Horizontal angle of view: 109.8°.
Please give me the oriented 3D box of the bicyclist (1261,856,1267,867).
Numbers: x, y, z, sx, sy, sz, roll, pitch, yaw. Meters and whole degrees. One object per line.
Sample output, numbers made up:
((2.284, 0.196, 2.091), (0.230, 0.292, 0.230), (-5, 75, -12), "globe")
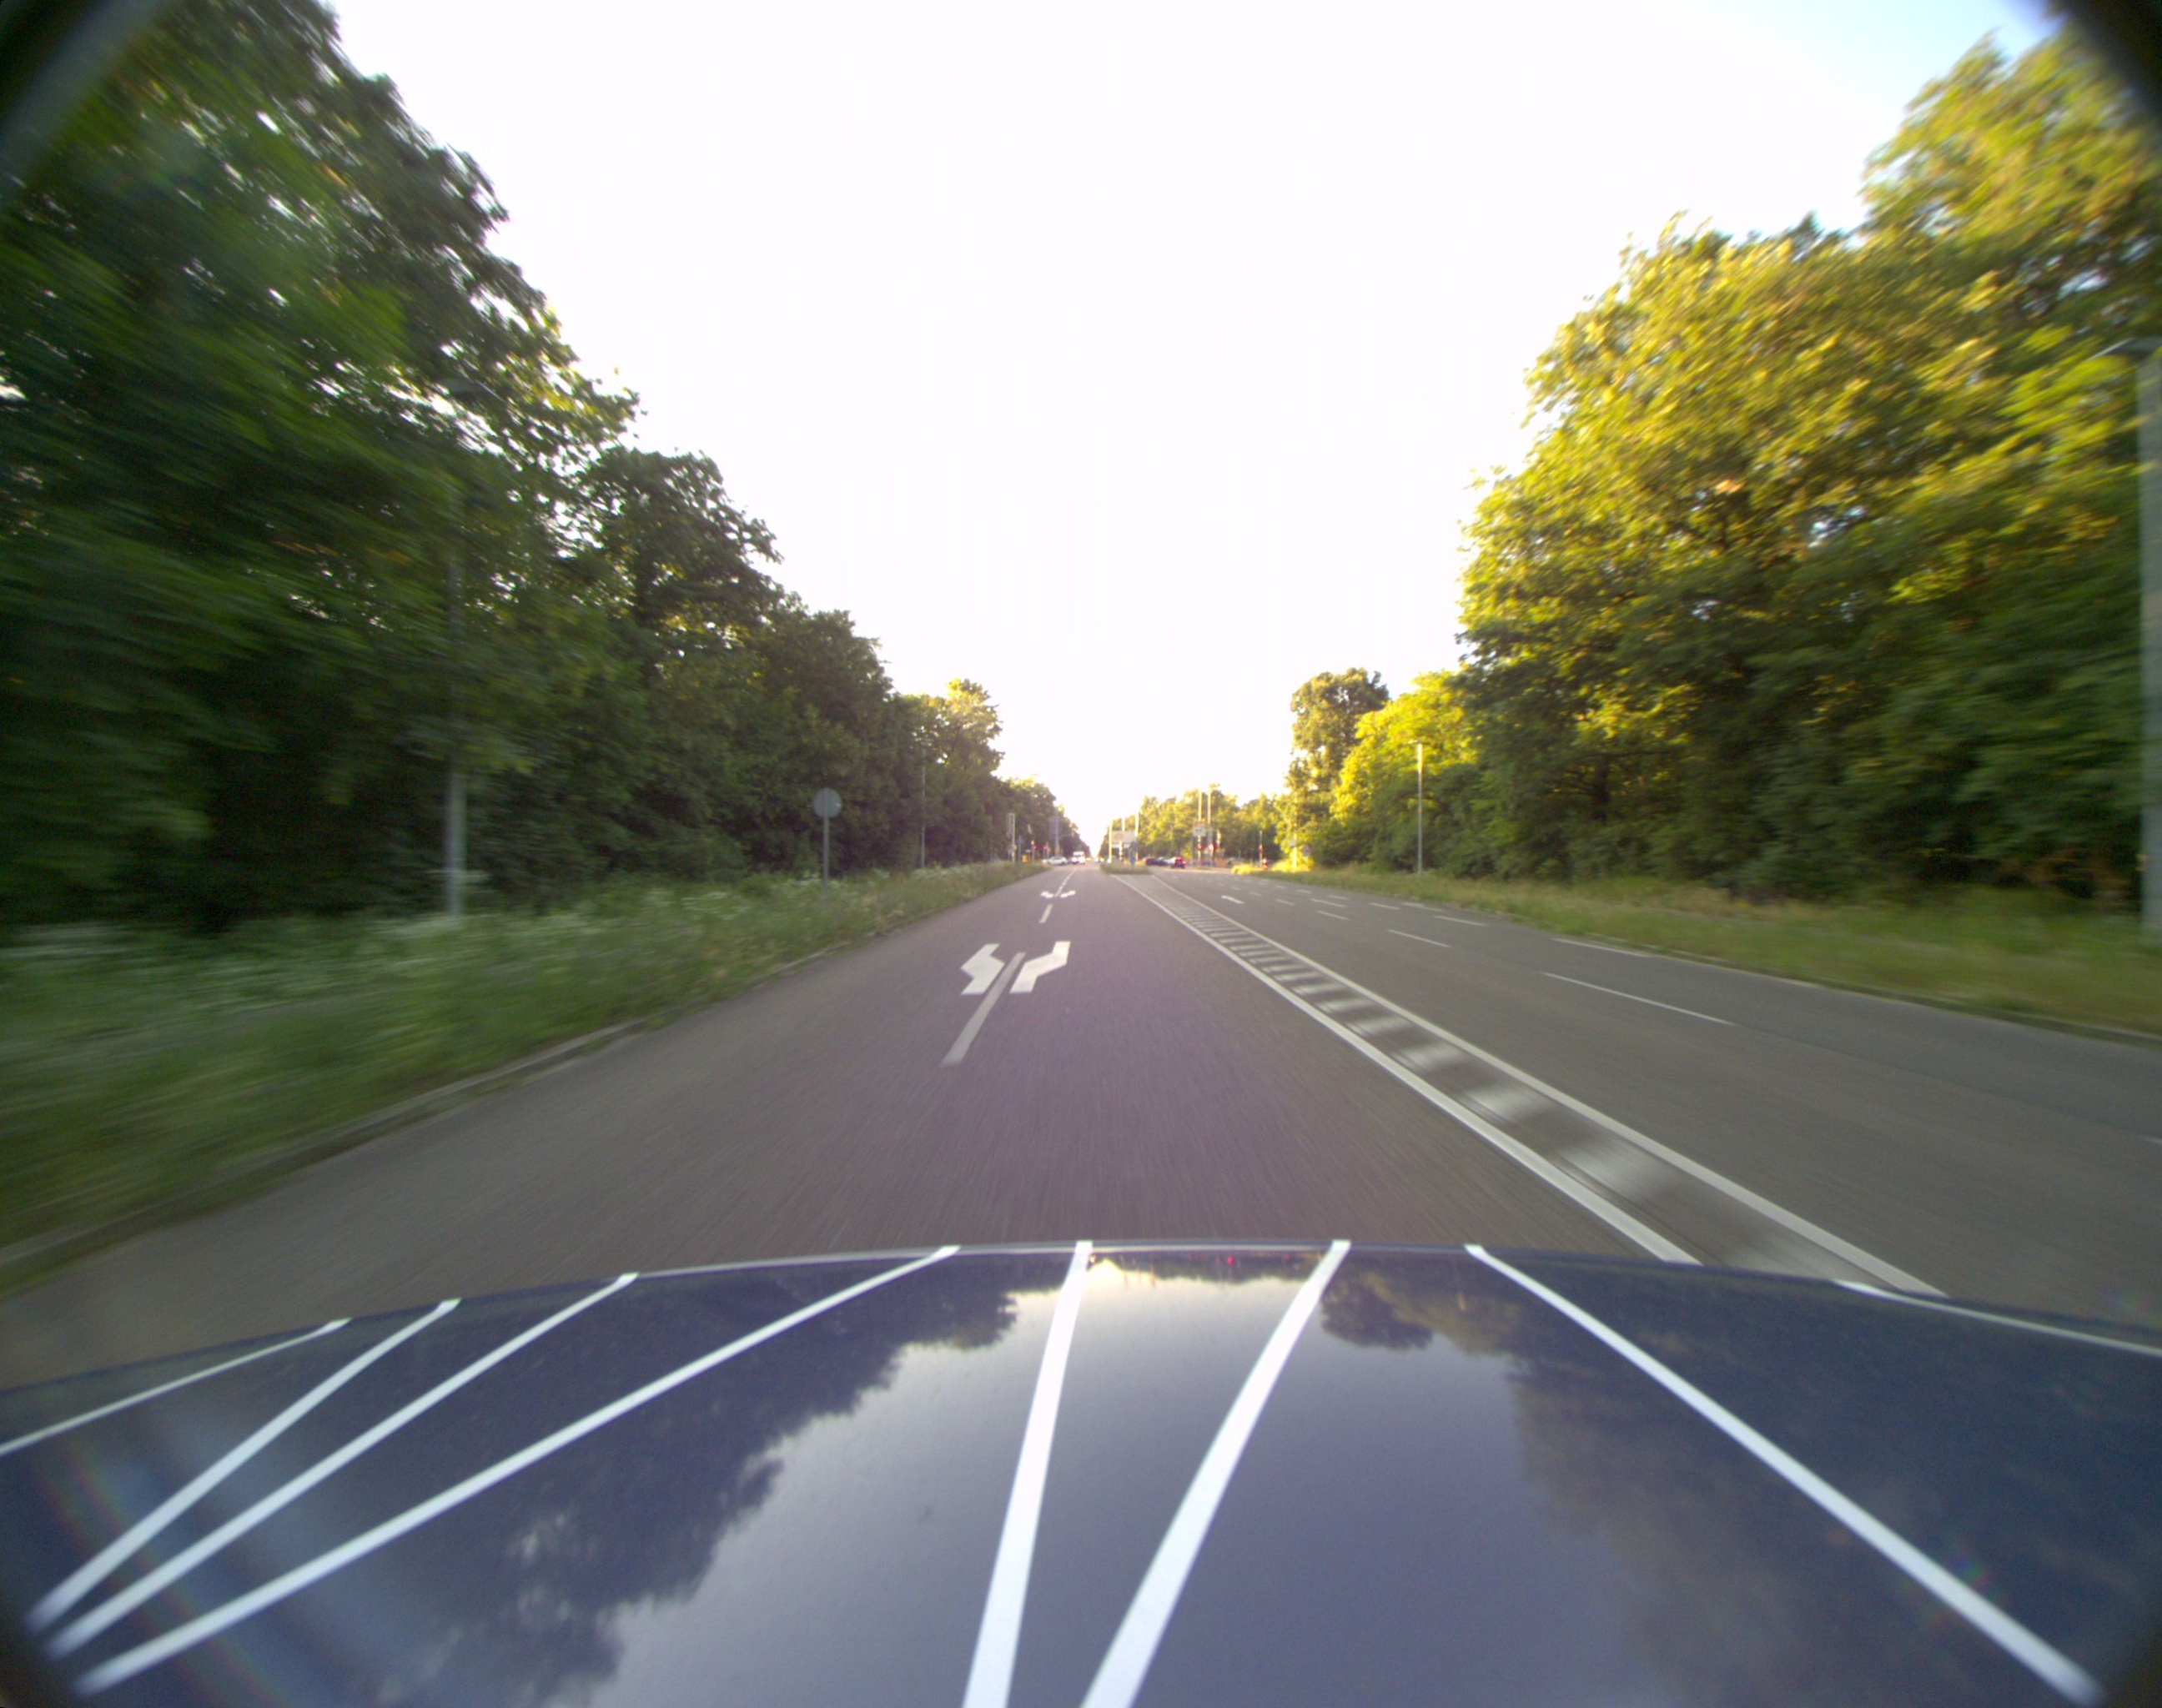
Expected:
((22.669, 0.927, 94.207), (0.586, 1.421, 0.823), (1, 1, 17), "bicyclist")

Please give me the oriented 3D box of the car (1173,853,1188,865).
((13.542, 0.699, 103.616), (1.822, 1.525, 4.458), (2, 0, 9), "car")

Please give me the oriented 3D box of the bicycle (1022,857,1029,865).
((-6.754, 0.858, 92.329), (0.612, 0.990, 1.691), (1, 1, 2), "bicycle")

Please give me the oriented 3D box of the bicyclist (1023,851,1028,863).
((-6.757, 0.390, 92.338), (0.604, 1.447, 0.780), (0, 1, 2), "bicyclist")

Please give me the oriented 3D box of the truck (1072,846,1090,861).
((0.064, -0.145, 141.588), (2.602, 2.542, 6.026), (-2, 0, 7), "truck")

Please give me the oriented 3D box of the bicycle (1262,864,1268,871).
((22.832, 1.632, 94.242), (0.586, 0.800, 1.961), (1, 0, 17), "bicycle")

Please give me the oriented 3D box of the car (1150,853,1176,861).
((14.511, 0.587, 134.633), (4.236, 1.447, 1.719), (0, 0, -15), "car")

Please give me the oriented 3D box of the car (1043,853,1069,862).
((-4.200, 0.536, 127.892), (4.236, 1.447, 1.719), (0, 0, -15), "car")

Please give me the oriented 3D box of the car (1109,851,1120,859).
((6.368, 0.125, 144.424), (2.001, 1.511, 4.000), (0, 0, 1), "car")

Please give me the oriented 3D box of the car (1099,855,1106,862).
((6.290, 1.329, 222.168), (1.998, 2.002, 3.999), (0, 2, 1), "car")
